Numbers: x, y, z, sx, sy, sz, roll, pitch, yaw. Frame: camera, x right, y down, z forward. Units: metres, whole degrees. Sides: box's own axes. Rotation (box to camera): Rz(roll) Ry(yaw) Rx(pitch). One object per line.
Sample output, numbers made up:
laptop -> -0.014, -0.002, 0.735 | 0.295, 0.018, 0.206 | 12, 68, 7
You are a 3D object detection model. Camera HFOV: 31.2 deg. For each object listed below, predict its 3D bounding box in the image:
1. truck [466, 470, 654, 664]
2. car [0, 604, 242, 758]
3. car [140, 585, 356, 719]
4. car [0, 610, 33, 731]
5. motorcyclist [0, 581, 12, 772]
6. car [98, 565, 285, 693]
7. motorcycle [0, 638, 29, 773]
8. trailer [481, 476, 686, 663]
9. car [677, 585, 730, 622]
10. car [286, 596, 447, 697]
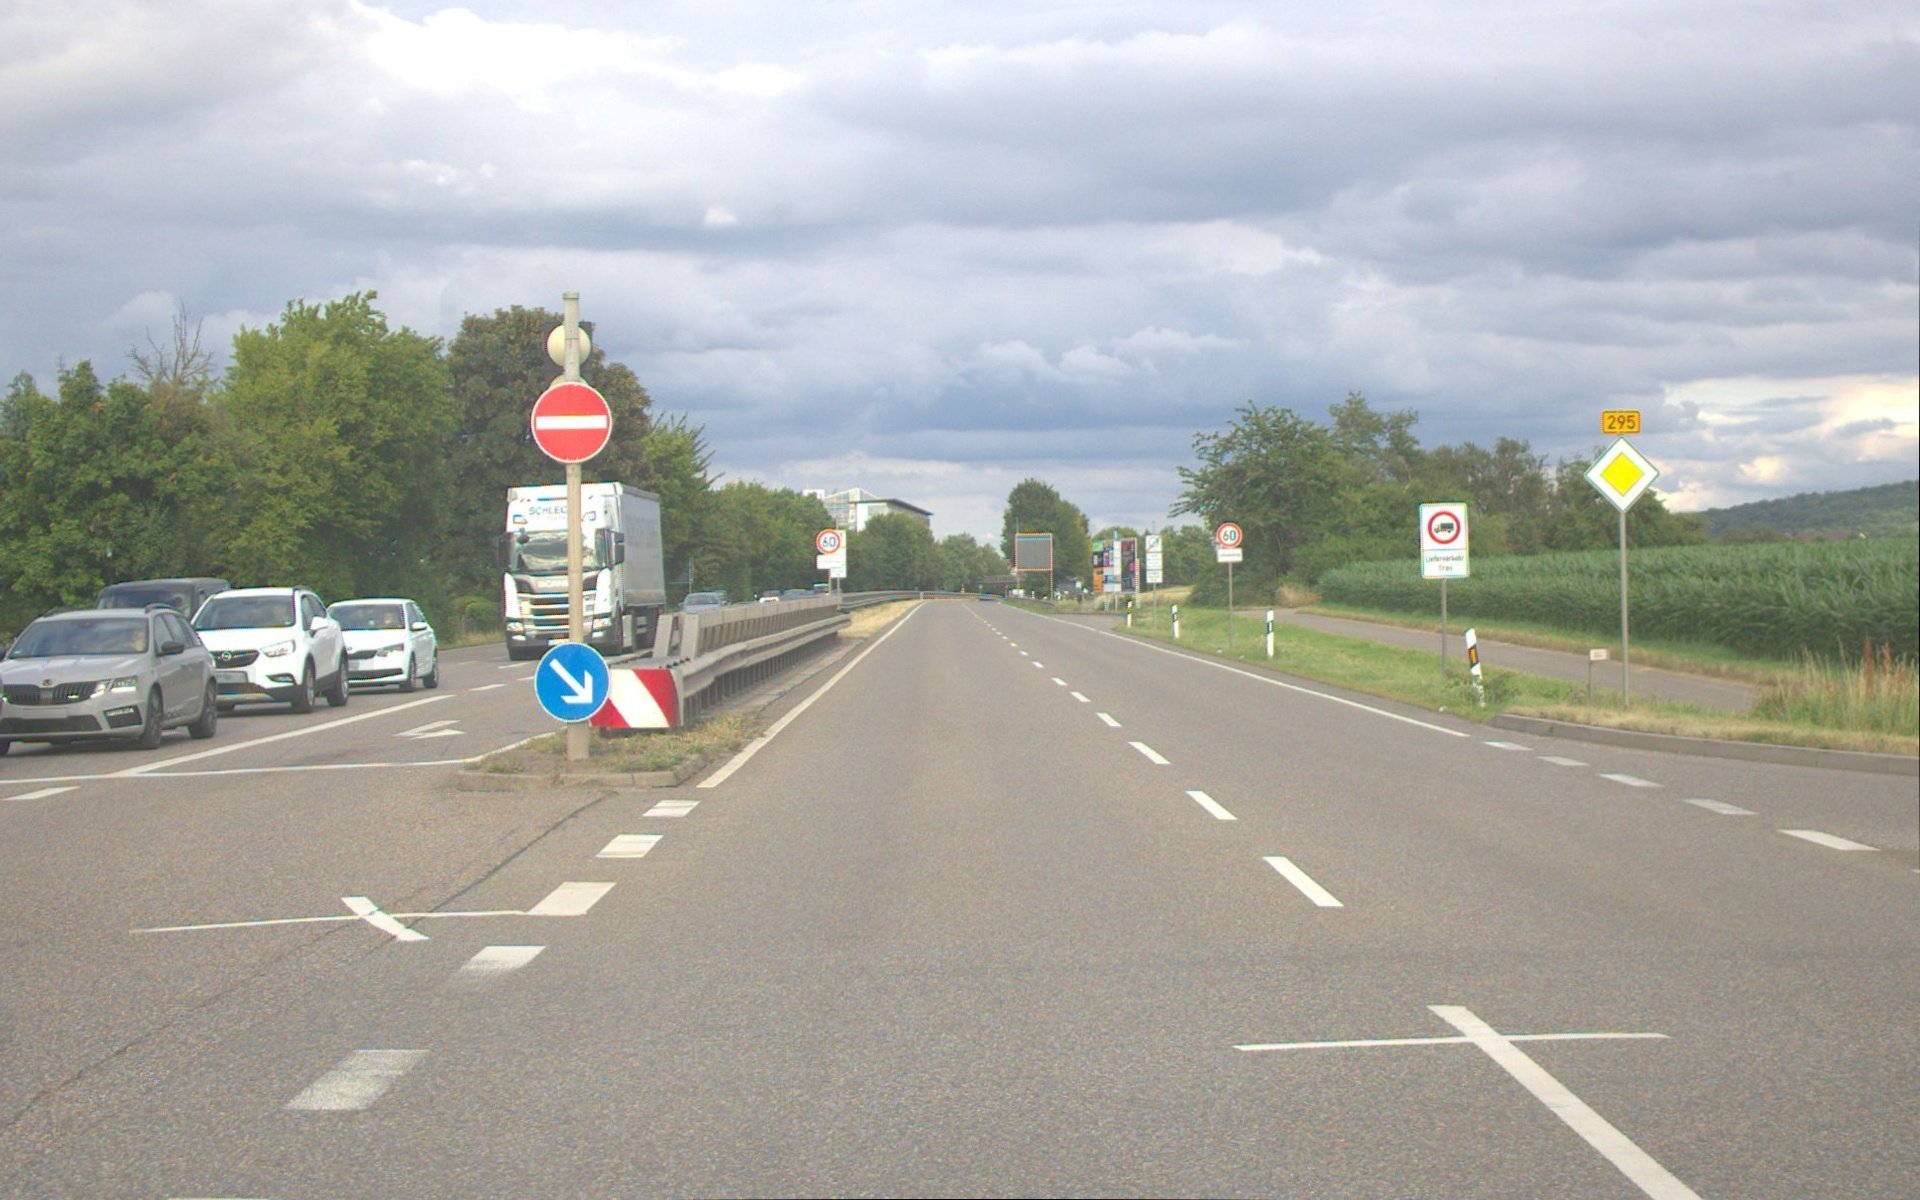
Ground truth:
truck -> -9.114, -0.735, 79.128 | 3.474, 4.136, 6.050 | -3, 0, 0
car -> -8.998, 0.794, 35.940 | 1.907, 1.423, 5.152 | -1, 0, 0
car -> -9.230, 0.633, 44.899 | 1.907, 1.604, 4.405 | -1, 0, 0
car -> -12.746, 0.899, 41.652 | 1.907, 1.460, 4.184 | -1, 0, 0
motorcyclist -> -9.043, 0.699, 30.386 | 0.916, 1.703, 1.276 | -2, 0, 0
car -> -13.018, 0.485, 58.538 | 1.993, 2.007, 4.947 | -2, 0, 0
motorcycle -> -9.045, 0.963, 30.387 | 0.916, 1.199, 2.478 | -2, 0, 0
trailer -> -9.152, -0.724, 85.538 | 3.465, 4.136, 13.916 | -3, 0, 0
car -> -10.065, 0.124, 134.991 | 1.789, 1.381, 4.160 | -1, 0, 0
car -> -9.173, 0.689, 53.401 | 1.789, 1.439, 4.160 | -1, 0, 0
